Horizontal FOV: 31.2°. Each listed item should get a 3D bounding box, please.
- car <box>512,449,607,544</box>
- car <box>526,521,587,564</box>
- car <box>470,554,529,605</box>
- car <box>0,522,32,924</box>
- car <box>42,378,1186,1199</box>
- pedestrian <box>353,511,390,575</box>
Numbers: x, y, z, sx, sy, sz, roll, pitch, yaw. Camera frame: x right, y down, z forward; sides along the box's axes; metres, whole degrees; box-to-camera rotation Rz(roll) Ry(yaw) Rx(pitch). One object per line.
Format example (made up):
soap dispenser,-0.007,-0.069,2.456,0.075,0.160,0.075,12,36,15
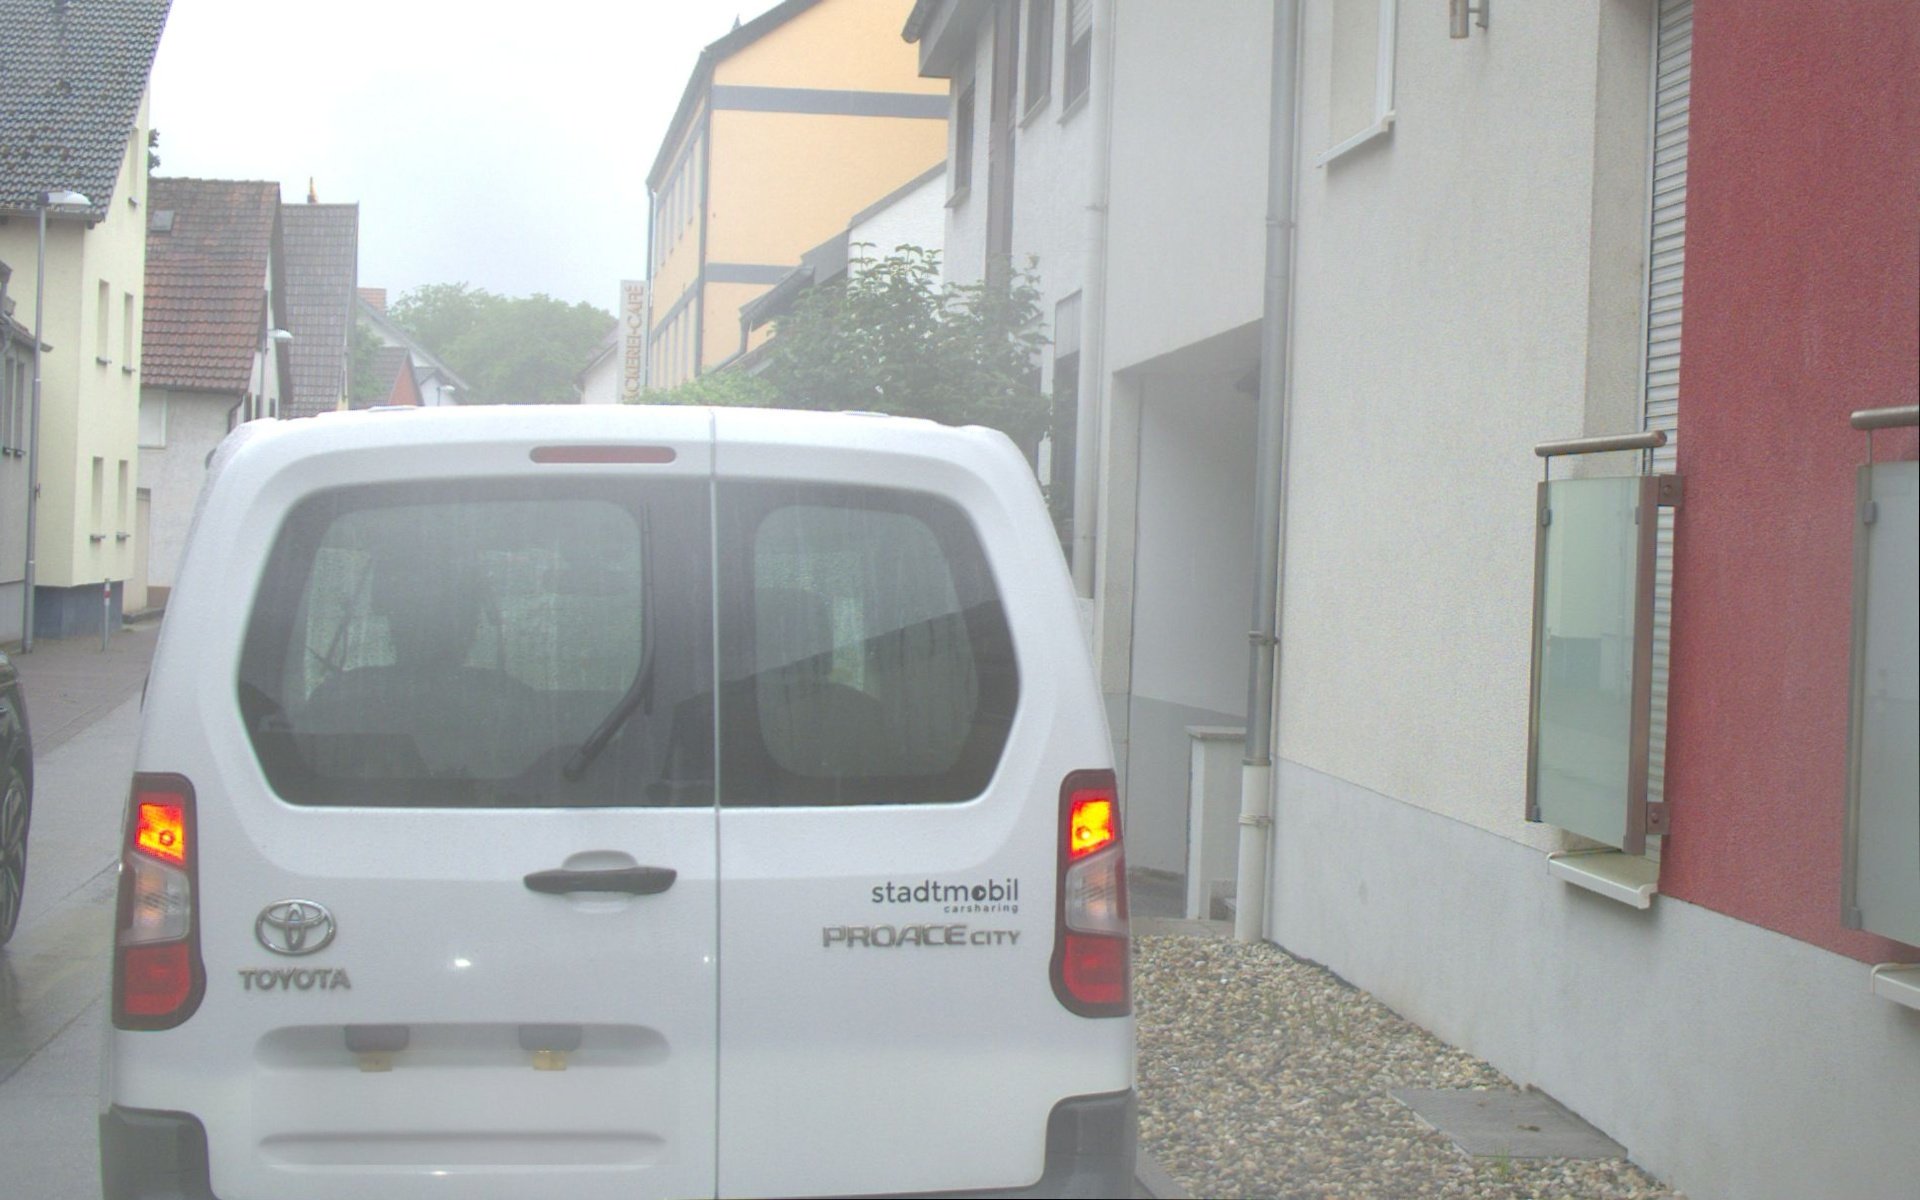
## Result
car,-8.850,-2.260,76.227,1.993,2.007,4.001,1,1,-6
car,-13.407,-1.899,114.094,1.779,1.390,4.001,1,1,-10
car,-13.757,-0.617,102.552,1.560,1.472,4.001,1,1,-10
car,-4.402,0.465,11.525,1.832,1.550,4.240,2,0,-7
car,-0.836,0.535,7.383,1.774,1.774,4.001,1,1,-9
pedestrian,-17.522,-1.690,102.347,1.050,1.886,0.877,1,0,-9
